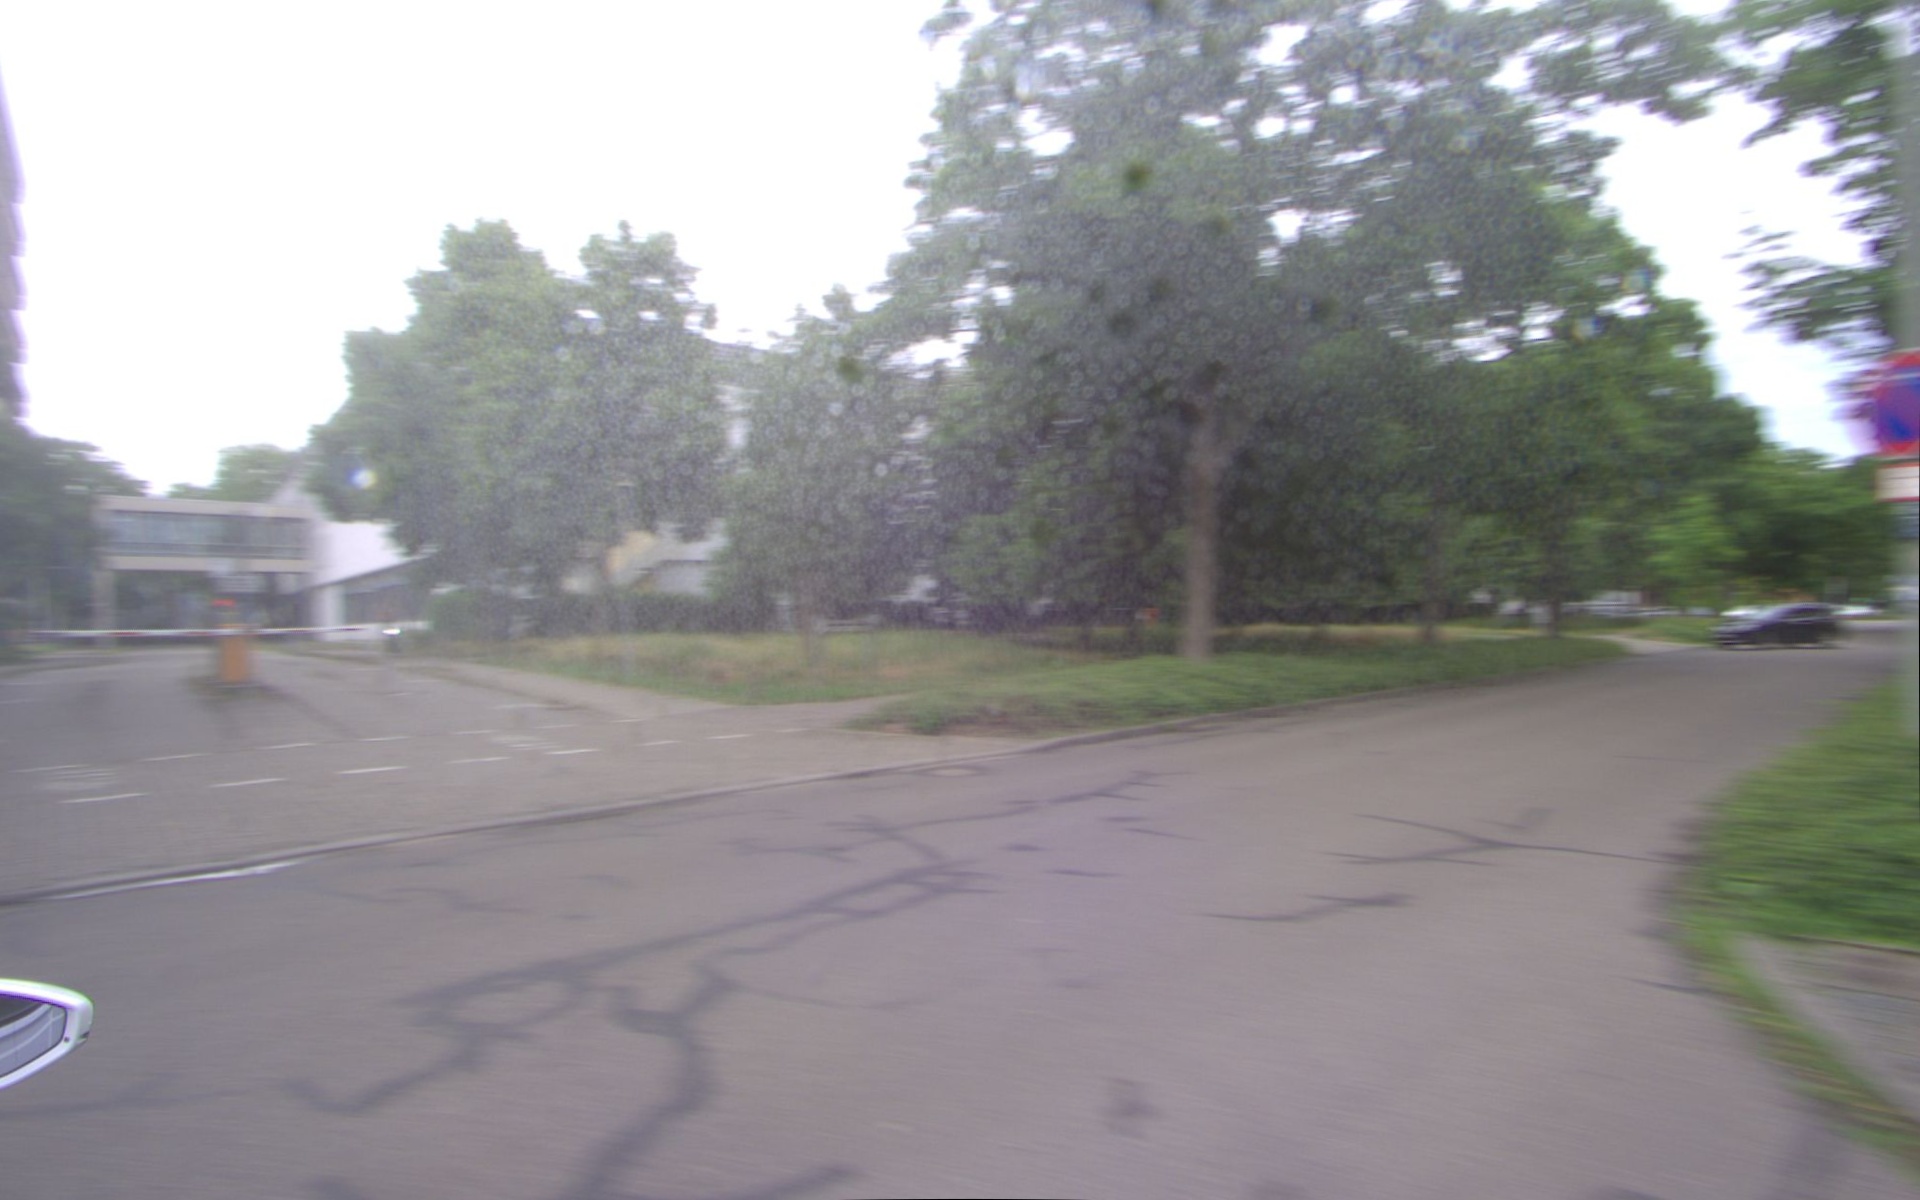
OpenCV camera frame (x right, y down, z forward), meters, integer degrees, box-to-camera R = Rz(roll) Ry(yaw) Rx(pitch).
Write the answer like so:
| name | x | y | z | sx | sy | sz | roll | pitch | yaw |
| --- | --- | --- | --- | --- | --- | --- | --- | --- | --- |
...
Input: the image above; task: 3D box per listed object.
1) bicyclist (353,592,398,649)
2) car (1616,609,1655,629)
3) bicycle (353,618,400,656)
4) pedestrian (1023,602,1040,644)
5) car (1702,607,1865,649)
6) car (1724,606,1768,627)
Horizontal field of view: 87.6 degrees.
| name | x | y | z | sx | sy | sz | roll | pitch | yaw |
| --- | --- | --- | --- | --- | --- | --- | --- | --- | --- |
| bicyclist | -17.396 | 0.592 | 29.787 | 1.009 | 1.666 | 0.915 | 0 | 0 | -40 |
| car | 69.669 | 1.972 | 103.290 | 3.273 | 1.949 | 1.799 | -2 | -2 | 38 |
| bicycle | -17.393 | 1.078 | 29.827 | 0.860 | 1.089 | 2.124 | 0 | 0 | -40 |
| pedestrian | 3.174 | 1.023 | 44.546 | 0.565 | 1.822 | 0.540 | 0 | 1 | -31 |
| car | 30.426 | 1.005 | 37.082 | 4.452 | 1.505 | 2.000 | 0 | 0 | -3 |
| car | 76.445 | 1.660 | 97.430 | 3.273 | 1.949 | 1.799 | -2 | -2 | 38 |
